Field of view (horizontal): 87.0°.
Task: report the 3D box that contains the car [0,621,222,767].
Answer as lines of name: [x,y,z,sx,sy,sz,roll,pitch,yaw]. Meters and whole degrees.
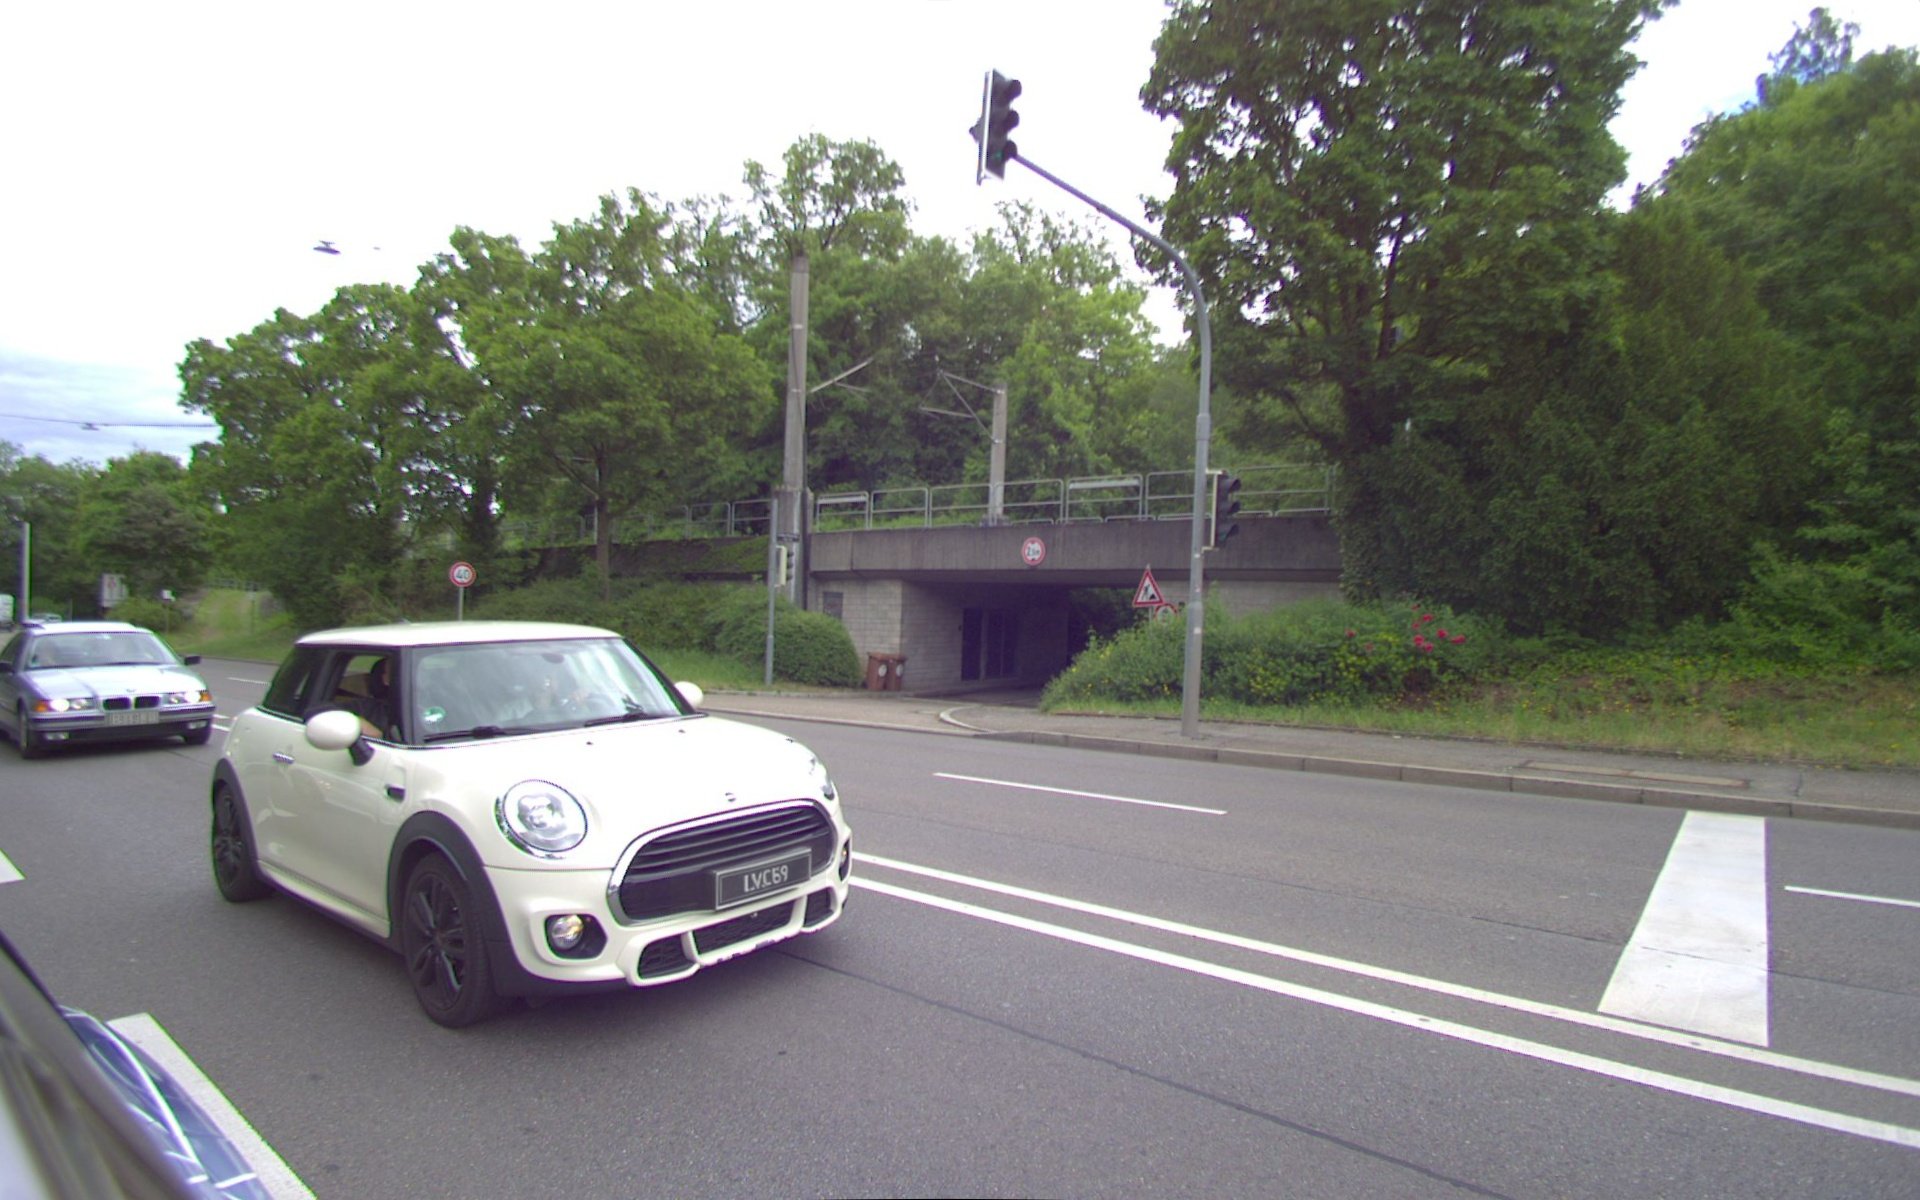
car: [-10.231,0.954,11.815,4.179,1.401,1.643,-1,-1,40]

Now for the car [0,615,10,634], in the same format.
car: [-82.666,2.041,85.535,1.823,1.664,4.371,2,-3,-19]

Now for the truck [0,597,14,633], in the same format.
truck: [-87.124,1.262,89.526,2.164,3.180,6.670,2,-3,-17]

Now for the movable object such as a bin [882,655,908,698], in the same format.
movable object such as a bin: [-1.632,1.911,25.402,0.503,1.071,0.414,-1,-3,36]

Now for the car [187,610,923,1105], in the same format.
car: [-2.116,0.782,4.791,3.729,1.434,1.667,-1,-1,40]

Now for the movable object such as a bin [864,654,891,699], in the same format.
movable object such as a bin: [-2.029,1.872,24.869,0.503,1.071,0.414,-1,-3,36]

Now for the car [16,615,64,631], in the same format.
car: [-89.560,2.268,98.533,1.727,1.372,4.021,4,-4,-15]
